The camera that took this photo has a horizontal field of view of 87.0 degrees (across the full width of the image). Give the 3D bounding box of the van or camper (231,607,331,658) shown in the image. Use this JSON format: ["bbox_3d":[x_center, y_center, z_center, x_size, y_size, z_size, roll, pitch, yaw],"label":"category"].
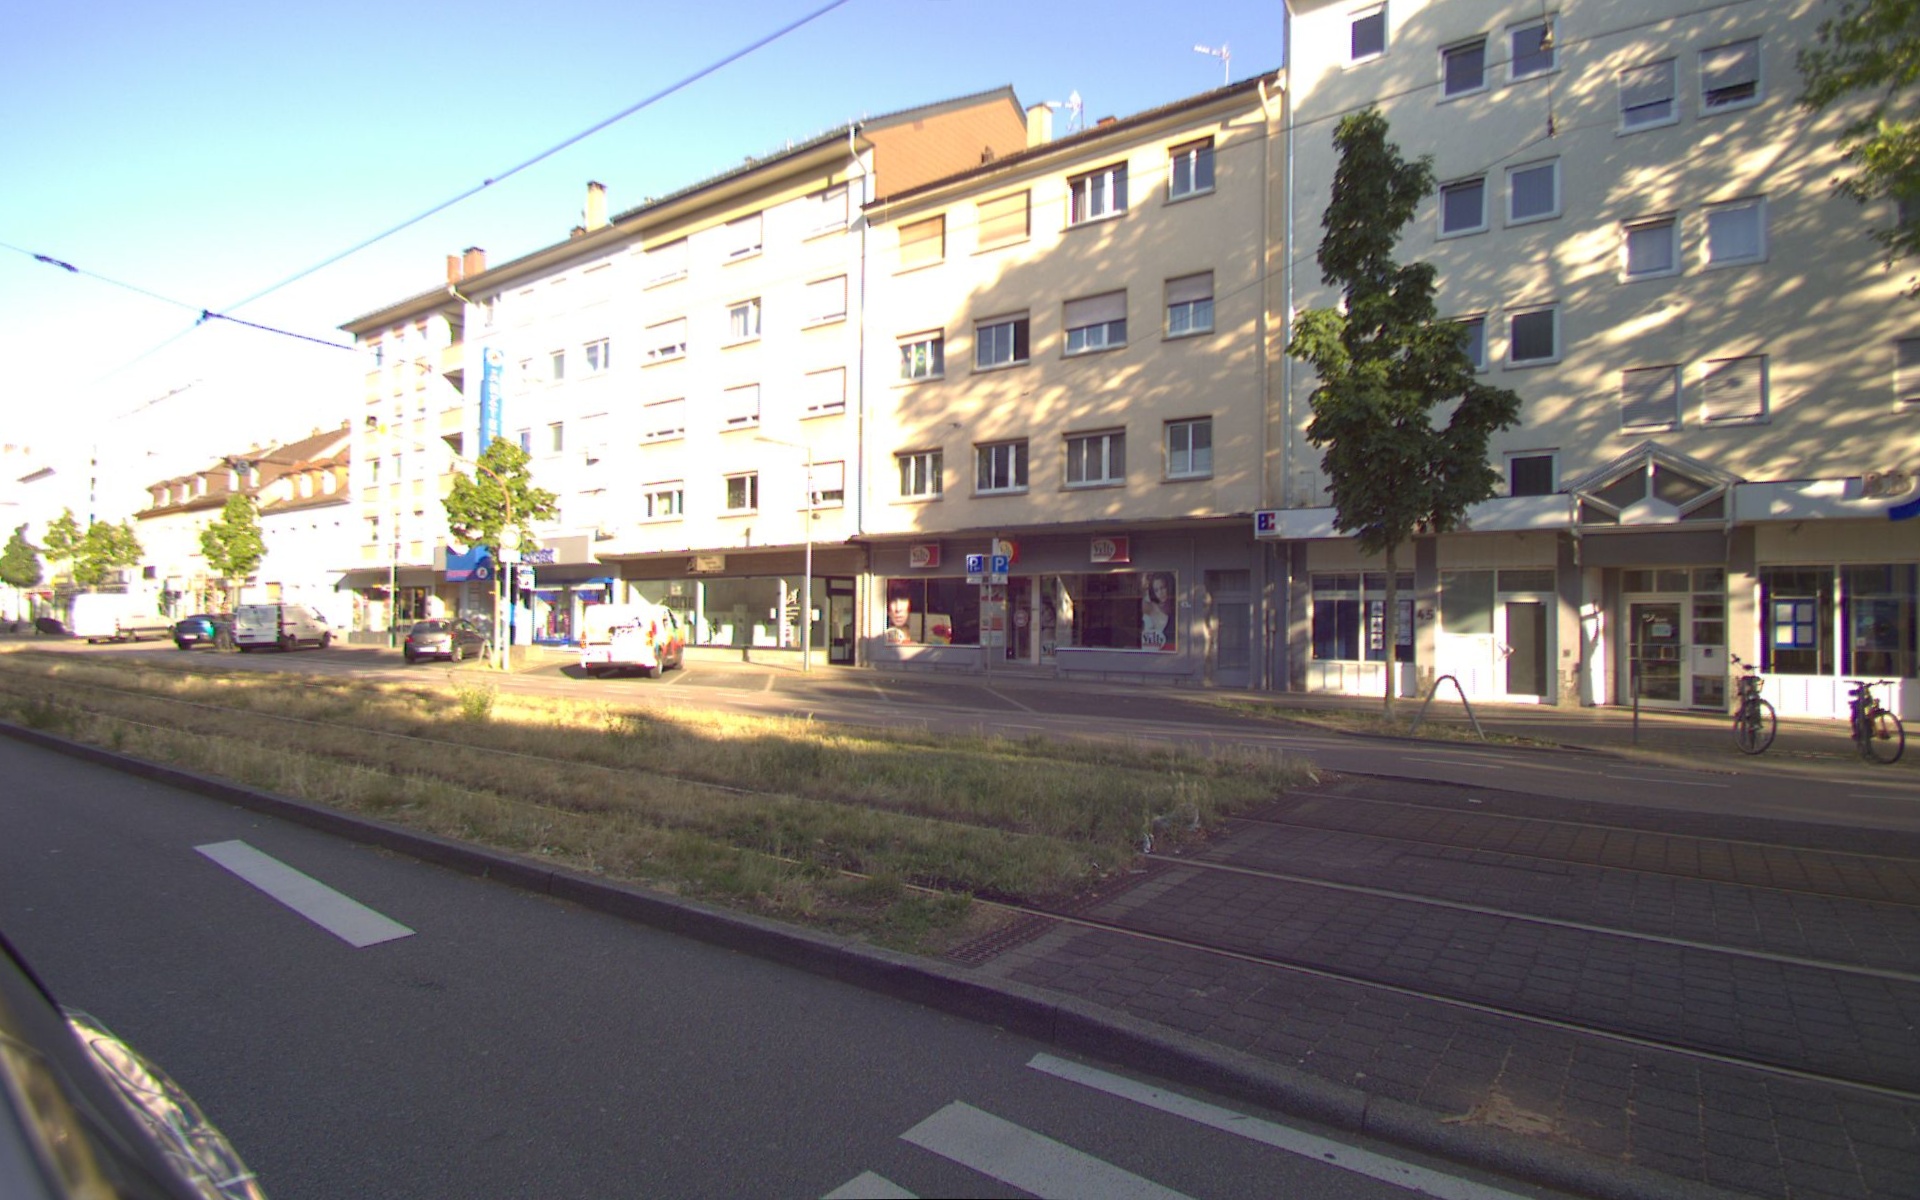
[{"bbox_3d":[-28.564,1.315,42.750,1.771,2.004,4.460,-1,0,-9],"label":"van or camper"}]

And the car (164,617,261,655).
[{"bbox_3d":[-34.297,1.613,46.572,1.850,1.598,4.007,-1,0,-7],"label":"car"}]

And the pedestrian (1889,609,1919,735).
[{"bbox_3d":[14.209,1.040,14.724,0.970,1.801,0.612,-1,0,41],"label":"pedestrian"}]

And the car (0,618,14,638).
[{"bbox_3d":[-73.391,2.148,75.449,1.752,1.501,3.899,-1,0,13],"label":"car"}]

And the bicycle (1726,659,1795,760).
[{"bbox_3d":[10.369,1.375,13.149,0.533,1.133,1.878,-1,-1,34],"label":"bicycle"}]

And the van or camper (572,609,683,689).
[{"bbox_3d":[-8.887,1.224,27.484,1.921,1.912,4.822,-1,0,-6],"label":"van or camper"}]

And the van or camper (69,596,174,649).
[{"bbox_3d":[-45.383,1.181,55.010,1.966,2.687,6.417,-1,0,-16],"label":"van or camper"}]

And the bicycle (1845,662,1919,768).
[{"bbox_3d":[11.394,1.369,12.430,0.533,1.133,1.878,-1,-1,34],"label":"bicycle"}]

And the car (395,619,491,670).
[{"bbox_3d":[-17.612,1.466,34.695,1.741,1.501,4.461,-1,0,-11],"label":"car"}]
